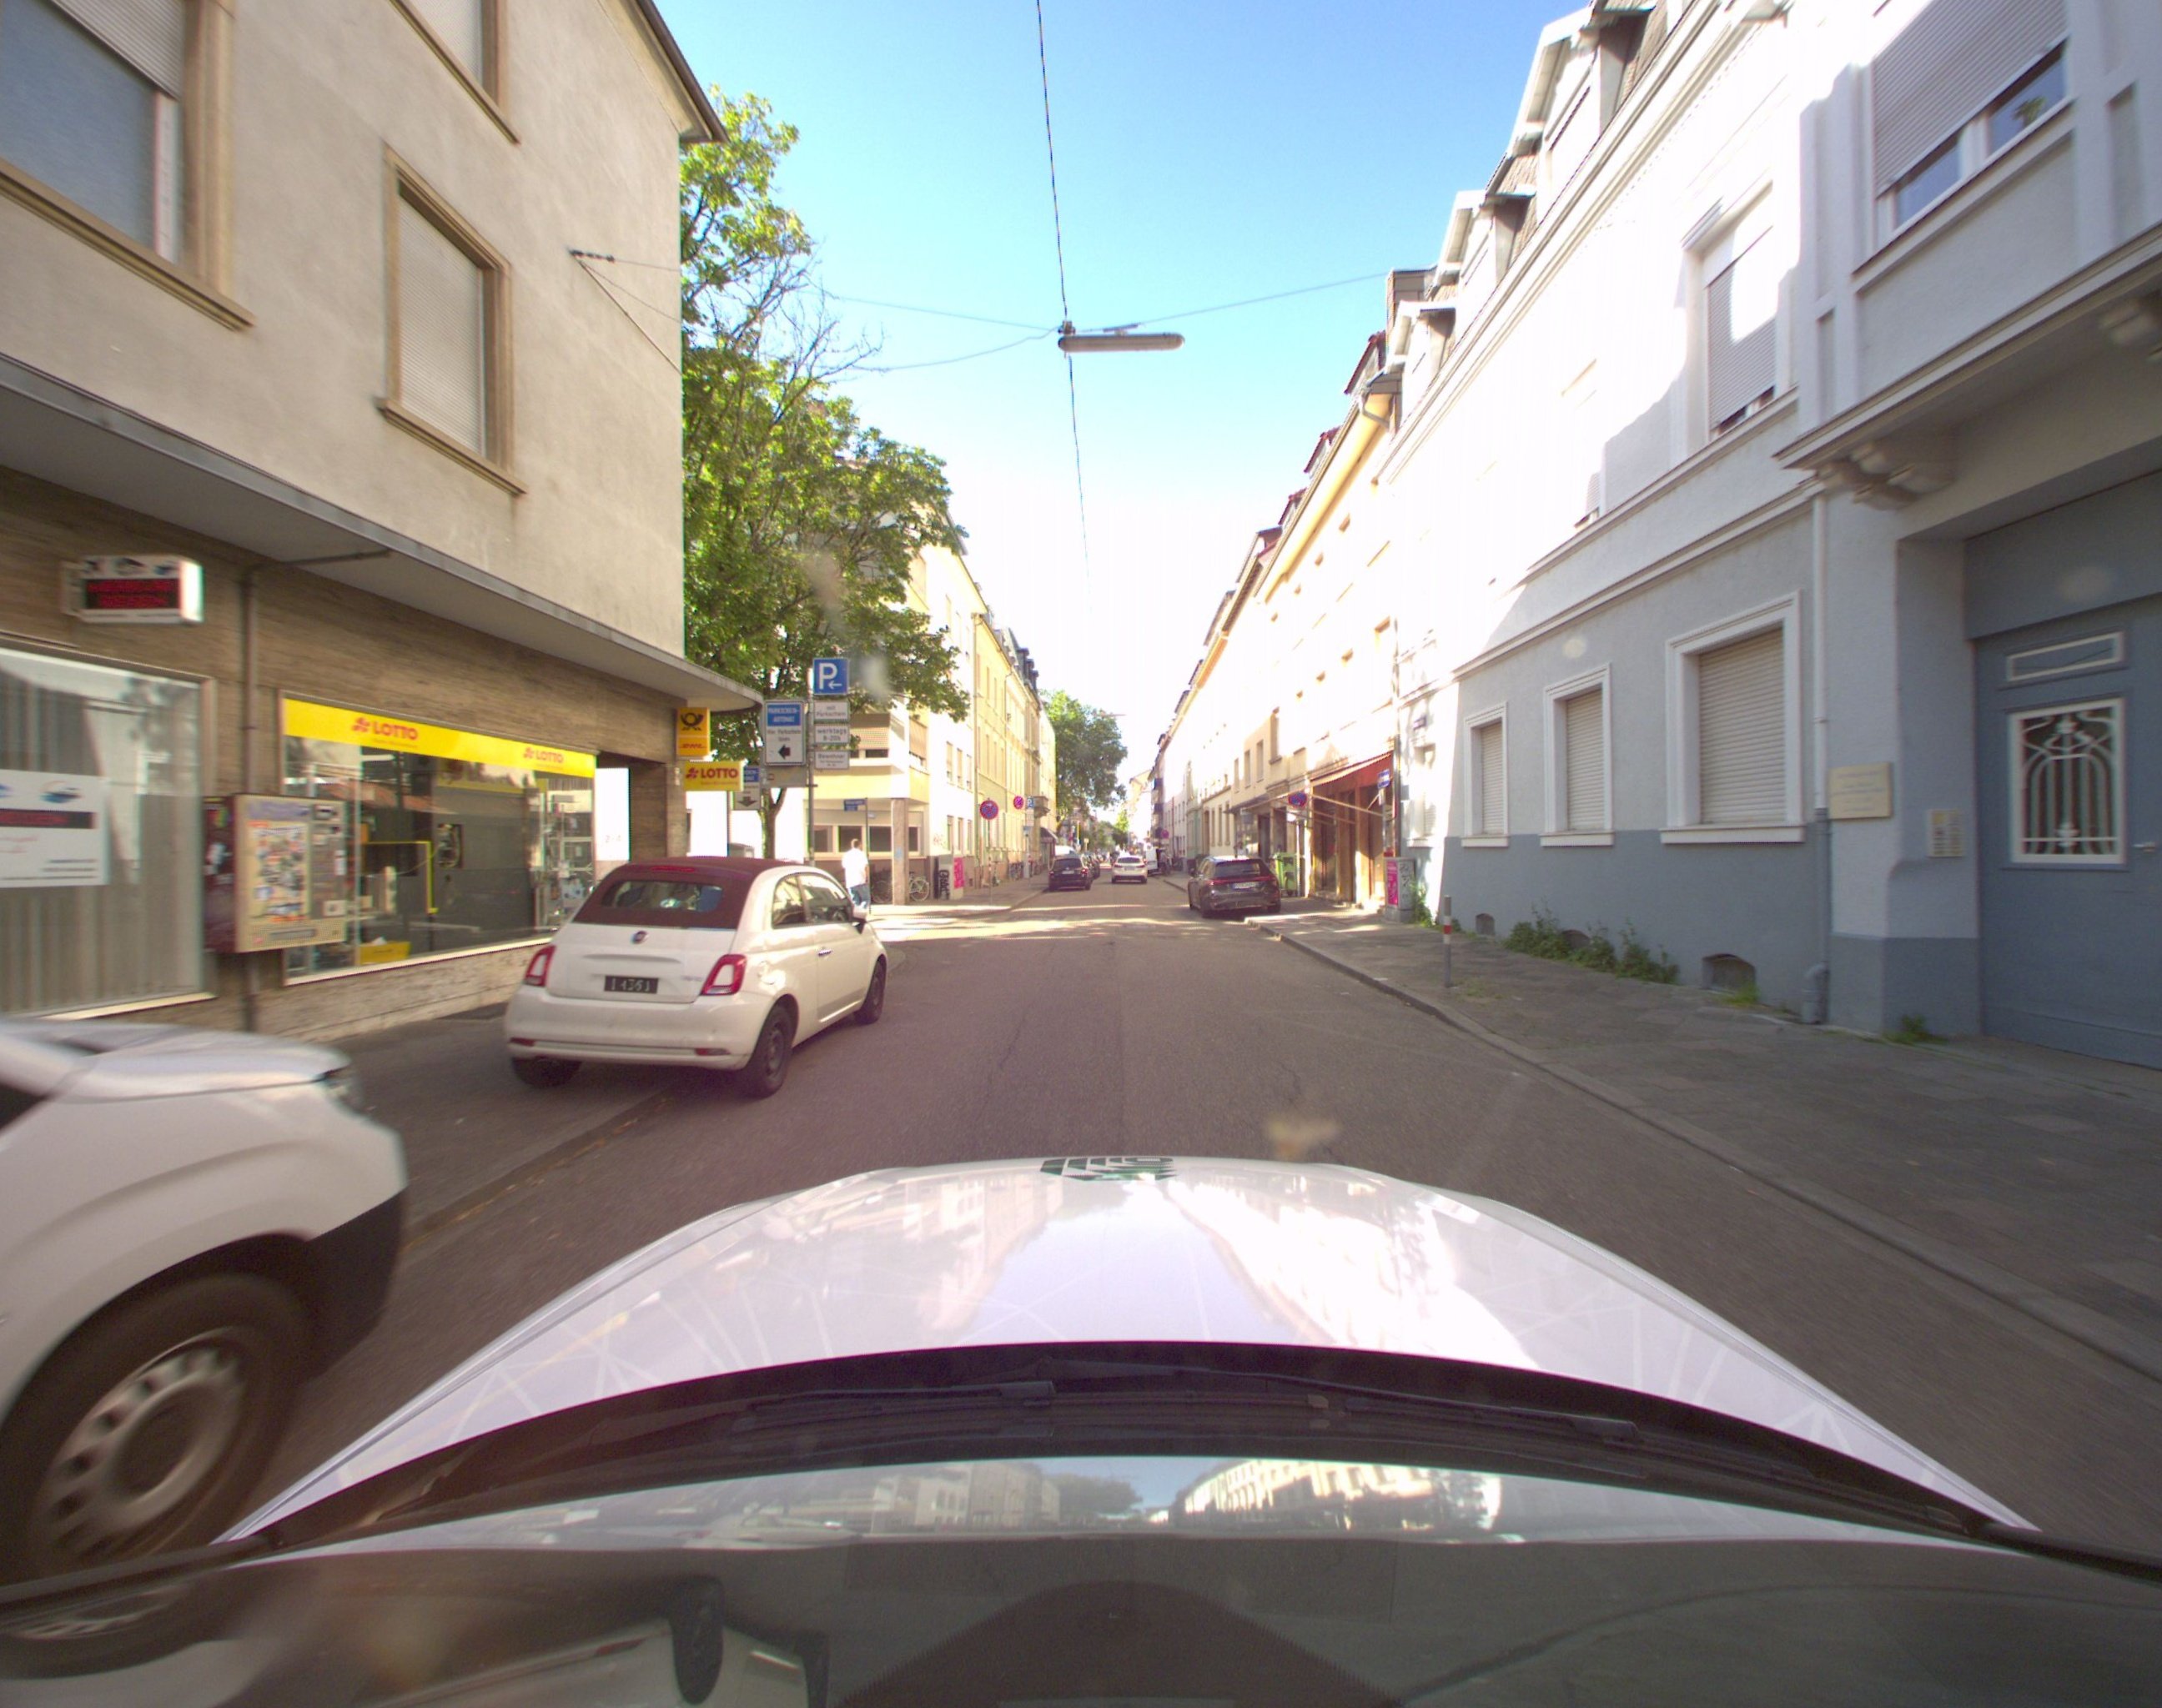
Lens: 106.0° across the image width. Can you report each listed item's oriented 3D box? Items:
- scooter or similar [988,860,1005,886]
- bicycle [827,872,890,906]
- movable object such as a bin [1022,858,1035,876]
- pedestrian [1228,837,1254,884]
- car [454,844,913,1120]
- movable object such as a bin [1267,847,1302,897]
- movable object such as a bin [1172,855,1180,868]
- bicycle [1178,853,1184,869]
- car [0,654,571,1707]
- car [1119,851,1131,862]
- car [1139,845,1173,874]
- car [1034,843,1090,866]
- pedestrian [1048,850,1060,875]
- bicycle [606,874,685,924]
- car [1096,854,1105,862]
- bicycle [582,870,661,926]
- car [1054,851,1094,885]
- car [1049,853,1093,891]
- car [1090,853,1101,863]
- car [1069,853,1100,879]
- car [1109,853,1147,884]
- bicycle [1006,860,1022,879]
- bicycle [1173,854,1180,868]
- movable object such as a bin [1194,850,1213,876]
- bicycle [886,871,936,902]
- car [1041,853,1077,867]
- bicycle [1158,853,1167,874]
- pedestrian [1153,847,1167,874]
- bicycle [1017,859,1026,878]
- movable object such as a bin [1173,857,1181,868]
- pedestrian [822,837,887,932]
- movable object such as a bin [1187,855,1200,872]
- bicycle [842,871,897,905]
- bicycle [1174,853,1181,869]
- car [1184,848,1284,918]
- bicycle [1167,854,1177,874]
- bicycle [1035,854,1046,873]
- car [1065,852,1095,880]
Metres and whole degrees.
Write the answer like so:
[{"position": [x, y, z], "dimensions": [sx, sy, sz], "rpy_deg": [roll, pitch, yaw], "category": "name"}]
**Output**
[{"position": [-3.901, 0.854, 37.730], "dimensions": [0.451, 1.181, 1.693], "rpy_deg": [-1, -1, 5], "category": "scooter or similar"}, {"position": [-6.609, 1.013, 24.259], "dimensions": [0.378, 0.913, 1.875], "rpy_deg": [-2, 0, 43], "category": "bicycle"}, {"position": [-3.299, 0.811, 51.398], "dimensions": [0.733, 1.089, 0.682], "rpy_deg": [-1, 1, -2], "category": "movable object such as a bin"}, {"position": [6.585, 0.268, 33.514], "dimensions": [0.650, 1.860, 0.744], "rpy_deg": [-3, 0, -20], "category": "pedestrian"}, {"position": [-2.669, 0.737, 6.520], "dimensions": [1.660, 1.560, 3.725], "rpy_deg": [-1, 0, 3], "category": "car"}, {"position": [6.196, 0.546, 24.859], "dimensions": [0.743, 1.436, 1.374], "rpy_deg": [-4, 0, 4], "category": "movable object such as a bin"}, {"position": [8.029, 0.636, 69.056], "dimensions": [0.614, 1.062, 0.603], "rpy_deg": [-3, 0, 2], "category": "movable object such as a bin"}, {"position": [7.918, 0.553, 64.753], "dimensions": [0.403, 1.206, 2.162], "rpy_deg": [-1, -1, 5], "category": "bicycle"}, {"position": [-2.704, 0.653, 0.371], "dimensions": [1.760, 1.898, 4.810], "rpy_deg": [-3, 0, 1], "category": "car"}, {"position": [7.649, 0.415, 141.833], "dimensions": [1.936, 1.948, 4.077], "rpy_deg": [0, 0, 0], "category": "car"}, {"position": [5.406, 0.371, 59.103], "dimensions": [1.976, 1.883, 5.602], "rpy_deg": [-4, 0, 2], "category": "car"}, {"position": [-2.331, 0.041, 102.094], "dimensions": [6.710, 2.555, 2.147], "rpy_deg": [2, -1, 3], "category": "car"}, {"position": [-1.896, 0.578, 56.865], "dimensions": [0.762, 1.714, 0.883], "rpy_deg": [0, 0, 1], "category": "pedestrian"}, {"position": [-10.900, 1.094, 20.490], "dimensions": [0.636, 1.029, 2.185], "rpy_deg": [-1, 3, 4], "category": "bicycle"}, {"position": [4.104, 0.799, 170.953], "dimensions": [1.566, 1.585, 3.613], "rpy_deg": [-1, -1, 3], "category": "car"}, {"position": [-11.561, 1.073, 20.596], "dimensions": [0.500, 1.185, 2.440], "rpy_deg": [-2, 2, 2], "category": "bicycle"}, {"position": [-0.289, 0.670, 41.830], "dimensions": [1.737, 1.615, 4.606], "rpy_deg": [-2, 0, 3], "category": "car"}, {"position": [-0.376, 0.749, 35.967], "dimensions": [1.707, 1.488, 4.853], "rpy_deg": [-3, 0, 1], "category": "car"}, {"position": [2.478, 0.647, 138.751], "dimensions": [1.763, 1.589, 3.727], "rpy_deg": [-1, 1, 1], "category": "car"}, {"position": [0.271, 0.742, 52.386], "dimensions": [1.706, 1.531, 4.371], "rpy_deg": [-2, 0, 4], "category": "car"}, {"position": [2.420, 0.726, 42.725], "dimensions": [1.817, 1.514, 3.825], "rpy_deg": [-1, 0, 1], "category": "car"}, {"position": [-3.683, 0.835, 44.724], "dimensions": [0.358, 1.028, 1.923], "rpy_deg": [-1, -1, 12], "category": "bicycle"}, {"position": [7.880, 0.591, 67.181], "dimensions": [0.565, 1.153, 1.871], "rpy_deg": [-1, -1, 7], "category": "bicycle"}, {"position": [7.017, 0.515, 46.668], "dimensions": [0.834, 1.389, 1.297], "rpy_deg": [-3, -2, 1], "category": "movable object such as a bin"}, {"position": [-5.270, 0.991, 25.378], "dimensions": [0.426, 0.882, 1.579], "rpy_deg": [1, 1, 41], "category": "bicycle"}, {"position": [-2.449, 0.680, 89.590], "dimensions": [3.862, 1.505, 1.827], "rpy_deg": [0, -1, 1], "category": "car"}, {"position": [5.315, 0.633, 53.137], "dimensions": [0.572, 1.320, 2.203], "rpy_deg": [-2, 0, 6], "category": "bicycle"}, {"position": [5.400, 0.445, 55.762], "dimensions": [0.877, 1.836, 0.869], "rpy_deg": [-1, -1, 1], "category": "pedestrian"}, {"position": [-3.494, 0.854, 48.072], "dimensions": [0.400, 1.056, 1.836], "rpy_deg": [-1, -1, -1], "category": "bicycle"}, {"position": [8.032, 0.703, 68.445], "dimensions": [0.575, 0.924, 0.608], "rpy_deg": [-3, 0, 2], "category": "movable object such as a bin"}, {"position": [-4.581, 0.607, 16.566], "dimensions": [0.907, 1.832, 1.246], "rpy_deg": [-1, -1, 2], "category": "pedestrian"}, {"position": [7.338, 0.639, 53.258], "dimensions": [0.793, 1.096, 0.642], "rpy_deg": [-1, -1, 4], "category": "movable object such as a bin"}, {"position": [-6.233, 1.003, 24.065], "dimensions": [0.399, 0.897, 1.595], "rpy_deg": [-2, 0, 43], "category": "bicycle"}, {"position": [7.850, 0.570, 66.092], "dimensions": [0.435, 1.206, 2.272], "rpy_deg": [-1, -1, 9], "category": "bicycle"}, {"position": [3.747, 0.655, 20.711], "dimensions": [1.794, 1.579, 4.900], "rpy_deg": [0, 0, 2], "category": "car"}, {"position": [5.979, 0.619, 53.442], "dimensions": [0.572, 1.271, 2.203], "rpy_deg": [-3, 0, 6], "category": "bicycle"}, {"position": [-2.883, 0.670, 58.011], "dimensions": [0.508, 1.277, 1.868], "rpy_deg": [-1, -1, 4], "category": "bicycle"}, {"position": [-0.016, 0.680, 47.623], "dimensions": [1.610, 1.554, 3.979], "rpy_deg": [-1, 0, 1], "category": "car"}]
